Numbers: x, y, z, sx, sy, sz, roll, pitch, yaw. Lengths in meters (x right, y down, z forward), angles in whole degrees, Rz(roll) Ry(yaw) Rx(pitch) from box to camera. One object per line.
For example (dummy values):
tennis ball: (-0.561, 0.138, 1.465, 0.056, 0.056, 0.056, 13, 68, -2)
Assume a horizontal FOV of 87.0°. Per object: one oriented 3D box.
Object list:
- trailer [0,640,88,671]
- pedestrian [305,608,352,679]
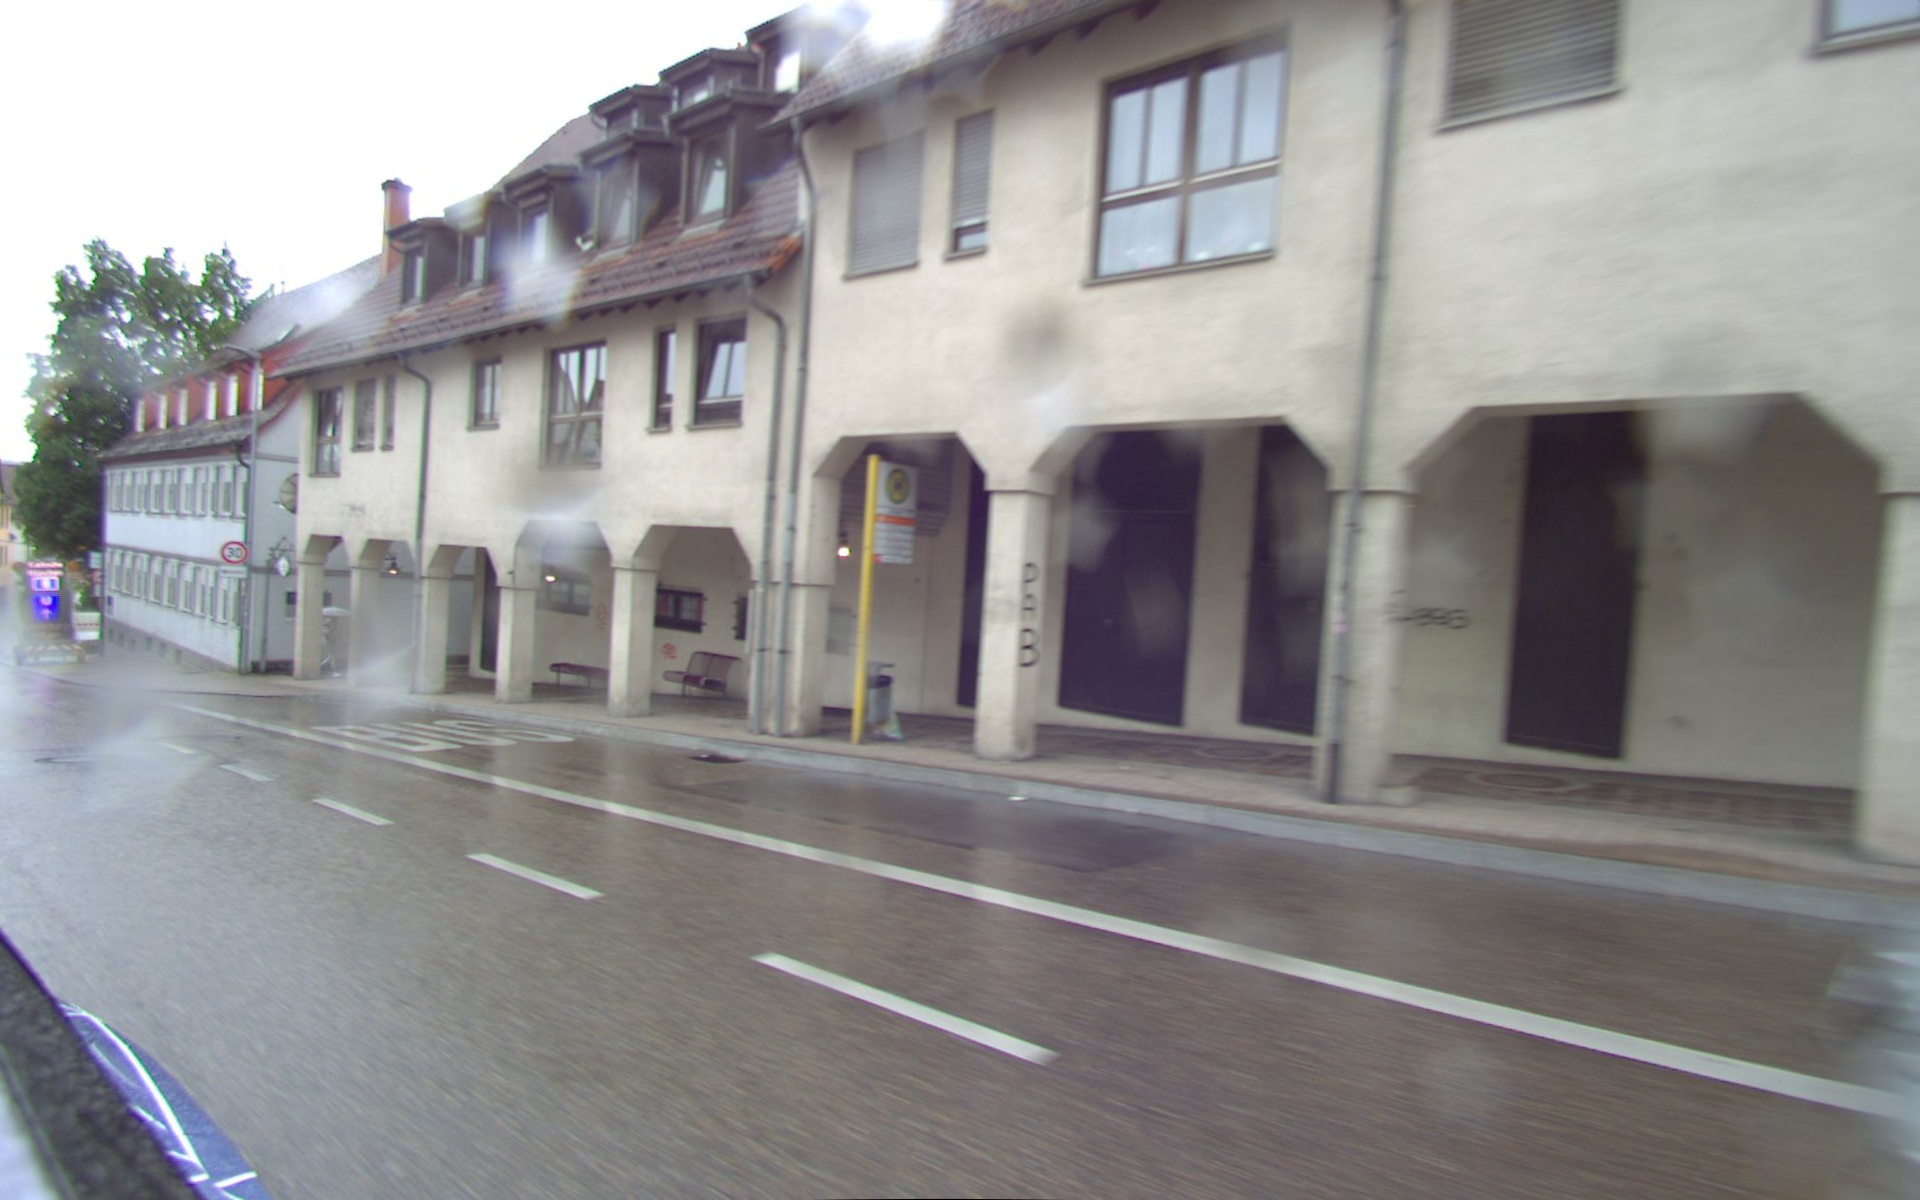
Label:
trailer: (-32.018, 1.892, 35.300, 4.477, 0.912, 1.972, -1, -1, 43)
pedestrian: (-15.861, 1.082, 25.434, 0.725, 1.753, 0.689, -1, 0, 4)
